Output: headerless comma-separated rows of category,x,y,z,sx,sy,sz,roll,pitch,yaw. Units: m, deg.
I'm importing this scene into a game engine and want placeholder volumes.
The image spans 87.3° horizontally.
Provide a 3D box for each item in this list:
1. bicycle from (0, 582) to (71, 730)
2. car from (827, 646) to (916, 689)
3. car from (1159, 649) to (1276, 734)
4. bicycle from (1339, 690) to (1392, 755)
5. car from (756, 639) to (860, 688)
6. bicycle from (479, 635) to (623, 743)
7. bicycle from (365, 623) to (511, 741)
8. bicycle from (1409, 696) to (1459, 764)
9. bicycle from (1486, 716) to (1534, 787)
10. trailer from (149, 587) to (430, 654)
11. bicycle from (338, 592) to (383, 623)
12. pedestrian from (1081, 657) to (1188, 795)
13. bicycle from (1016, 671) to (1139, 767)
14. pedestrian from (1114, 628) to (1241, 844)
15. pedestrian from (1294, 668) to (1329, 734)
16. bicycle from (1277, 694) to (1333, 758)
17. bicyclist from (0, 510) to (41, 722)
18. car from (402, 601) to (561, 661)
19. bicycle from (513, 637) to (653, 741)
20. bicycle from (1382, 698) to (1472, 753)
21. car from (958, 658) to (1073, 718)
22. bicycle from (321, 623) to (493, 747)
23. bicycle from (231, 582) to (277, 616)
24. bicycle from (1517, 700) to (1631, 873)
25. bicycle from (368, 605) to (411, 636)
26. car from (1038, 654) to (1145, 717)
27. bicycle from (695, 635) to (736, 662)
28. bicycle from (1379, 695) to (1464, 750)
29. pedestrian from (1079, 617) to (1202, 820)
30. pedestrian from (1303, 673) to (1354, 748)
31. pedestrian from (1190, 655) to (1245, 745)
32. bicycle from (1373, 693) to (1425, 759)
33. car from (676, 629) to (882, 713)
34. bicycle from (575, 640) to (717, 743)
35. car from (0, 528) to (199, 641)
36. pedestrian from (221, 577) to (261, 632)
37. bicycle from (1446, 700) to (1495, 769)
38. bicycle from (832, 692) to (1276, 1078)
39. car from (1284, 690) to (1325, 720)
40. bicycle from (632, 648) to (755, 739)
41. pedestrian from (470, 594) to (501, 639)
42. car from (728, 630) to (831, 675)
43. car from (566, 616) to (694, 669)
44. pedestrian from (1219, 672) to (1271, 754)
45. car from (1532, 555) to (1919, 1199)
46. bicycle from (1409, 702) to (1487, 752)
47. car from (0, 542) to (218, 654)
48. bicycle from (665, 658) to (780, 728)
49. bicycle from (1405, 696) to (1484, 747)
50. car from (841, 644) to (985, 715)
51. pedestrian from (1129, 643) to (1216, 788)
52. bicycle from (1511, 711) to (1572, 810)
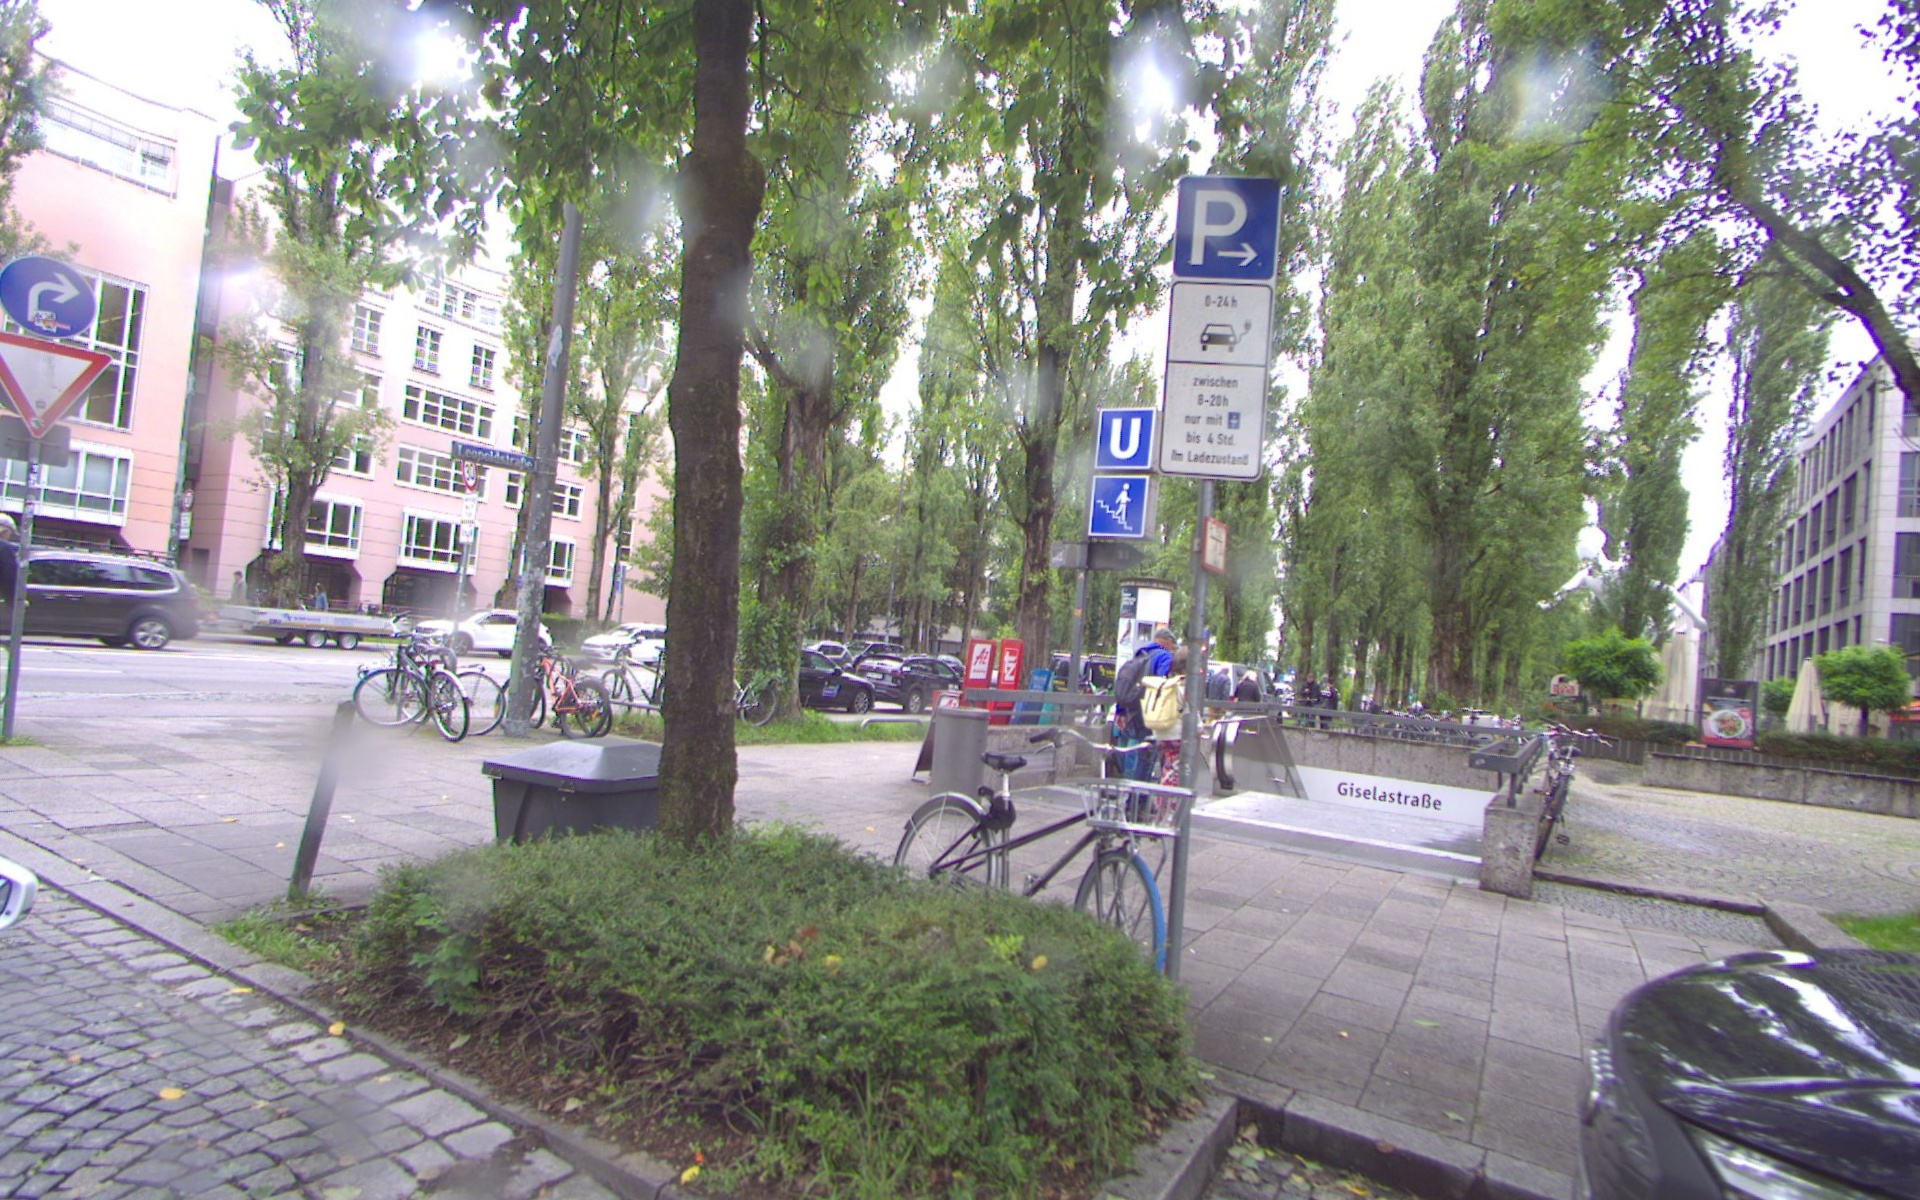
bicycle,-7.870,0.417,7.845,0.709,1.161,1.893,5,-3,-21
car,-4.392,3.449,50.877,1.967,1.817,4.756,4,-3,31
car,7.105,2.500,27.327,1.783,1.917,5.200,4,-3,28
bicycle,8.079,2.430,20.006,0.578,1.173,1.866,4,-3,32
car,-5.675,2.413,37.975,1.819,1.544,3.747,3,-4,32
bicycle,-4.698,0.999,11.506,1.847,1.062,0.475,2,-3,33
bicycle,-5.680,0.867,10.898,1.846,1.062,0.475,4,-2,34
bicycle,9.134,2.490,19.345,0.578,1.173,1.866,4,-3,32
bicycle,10.097,2.743,18.443,0.578,1.173,1.866,4,-3,32
trailer,-18.396,0.640,27.993,2.366,1.213,6.029,4,-4,32
bicycle,-25.202,0.305,42.274,2.073,1.137,0.675,4,-2,33
pedestrian,1.983,1.419,11.436,0.766,1.436,0.809,7,-2,-43
bicycle,1.619,1.623,13.588,0.580,1.173,1.860,3,-4,43
pedestrian,1.861,1.135,8.579,0.602,1.699,0.842,4,-3,41
pedestrian,10.419,2.996,29.813,0.689,1.862,0.705,4,-2,34
bicycle,6.974,2.538,20.271,0.578,1.173,1.866,4,-3,32
bicyclist,-7.759,0.100,7.693,0.714,1.638,0.753,6,-2,-22
car,-15.259,1.028,32.280,1.778,1.559,4.225,2,-4,33
bicycle,-4.504,1.037,11.961,1.847,1.062,0.475,2,-3,33
bicycle,12.160,3.261,26.209,2.000,1.173,0.586,4,-3,34
car,1.814,2.806,31.509,1.719,1.544,4.229,5,-3,31
bicycle,-5.614,0.839,10.183,1.844,1.062,0.476,4,-3,27
bicycle,-27.327,-0.046,38.944,1.957,1.137,0.675,4,-2,33
bicycle,5.456,1.589,8.935,0.710,1.291,1.866,4,-3,32
bicycle,-24.336,0.886,42.898,1.957,1.137,0.675,4,-2,33
car,4.855,3.150,36.433,1.885,1.946,5.035,6,-3,30
bicycle,-11.808,2.336,48.587,1.957,1.137,0.675,4,-2,33
bicycle,11.783,3.124,25.730,1.840,1.173,0.586,4,-3,34
pedestrian,1.654,1.063,9.178,0.655,1.716,0.802,4,-2,41
pedestrian,9.861,2.950,26.882,0.905,1.887,1.011,4,-3,36
pedestrian,5.537,2.153,21.638,0.739,1.823,0.841,4,-3,36
bicycle,8.602,2.459,19.672,0.578,1.173,1.866,4,-3,32
car,-3.843,1.617,22.120,1.729,1.443,4.438,5,-3,35
bicycle,-3.993,1.138,12.745,1.899,1.118,0.512,3,-3,32
car,-21.154,-0.411,22.998,1.991,2.222,5.489,4,-3,32
pedestrian,-24.077,0.148,33.677,0.698,1.733,0.730,4,-2,33
bicycle,9.673,2.525,19.023,0.578,1.173,1.866,4,-3,32
bicycle,0.309,1.063,4.263,1.850,1.149,0.474,3,-3,40
car,22.416,6.844,65.367,1.719,1.661,3.948,6,-3,30
bicycle,-3.624,1.248,13.593,1.806,1.050,0.512,3,-3,37
pedestrian,-19.300,0.670,40.938,0.698,1.733,0.730,4,-2,33
car,-7.914,2.352,44.496,1.968,1.559,4.318,4,-3,32
car,-12.294,1.635,37.759,1.966,1.559,4.322,4,-3,29
pedestrian,6.026,2.391,21.250,0.688,1.624,0.831,4,-3,36
car,3.047,1.022,1.061,4.131,1.719,1.925,4,-4,30
bicycle,13.649,3.546,28.157,1.840,1.173,0.586,4,-3,34
car,-16.960,-0.075,18.547,1.968,1.741,4.808,3,-4,32
bicycle,-3.393,1.309,14.286,1.806,0.827,0.470,2,-3,37
bicycle,13.305,3.332,27.653,1.840,1.173,0.586,4,-3,34
car,-1.148,2.130,26.428,1.720,1.544,3.902,5,-3,33
pedestrian,2.676,1.442,12.663,0.686,1.720,0.656,7,-2,-43
bicycle,7.870,2.129,13.581,0.578,1.173,1.866,4,-3,32
